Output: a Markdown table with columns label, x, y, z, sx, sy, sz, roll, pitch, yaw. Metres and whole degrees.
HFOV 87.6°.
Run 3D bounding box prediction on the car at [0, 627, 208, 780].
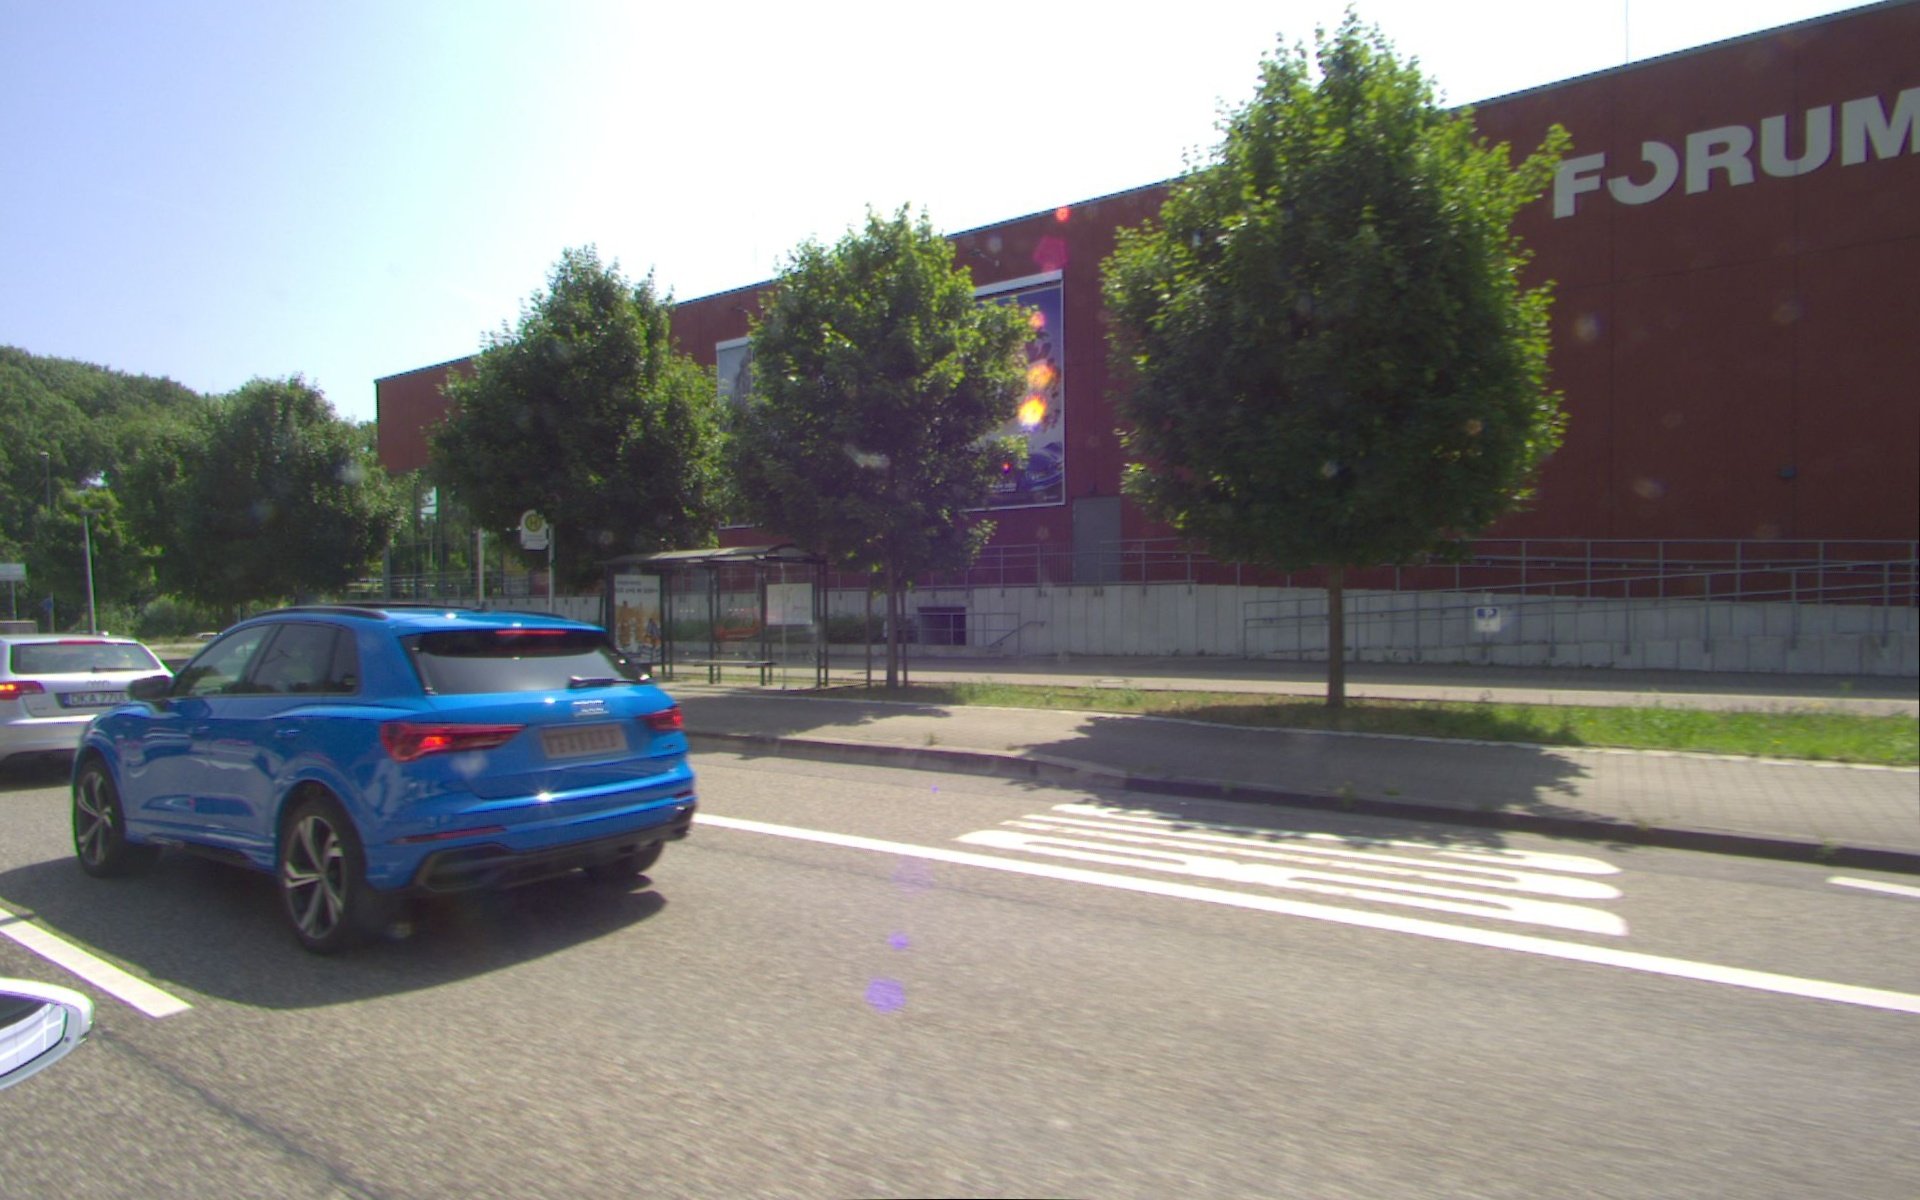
| label | x | y | z | sx | sy | sz | roll | pitch | yaw |
| --- | --- | --- | --- | --- | --- | --- | --- | --- | --- |
| car | -9.962 | 0.979 | 10.723 | 4.032 | 1.379 | 1.709 | -1 | -2 | 32 |

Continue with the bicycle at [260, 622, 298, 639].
| label | x | y | z | sx | sy | sz | roll | pitch | yaw |
| --- | --- | --- | --- | --- | --- | --- | --- | --- | --- |
| bicycle | -34.188 | 1.512 | 50.273 | 0.589 | 0.776 | 1.827 | -1 | 0 | 2 |

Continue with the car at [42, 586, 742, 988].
| label | x | y | z | sx | sy | sz | roll | pitch | yaw |
| --- | --- | --- | --- | --- | --- | --- | --- | --- | --- |
| car | -3.526 | 0.782 | 5.974 | 4.337 | 1.617 | 1.834 | -1 | -1 | 33 |

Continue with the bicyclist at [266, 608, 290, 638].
| label | x | y | z | sx | sy | sz | roll | pitch | yaw |
| --- | --- | --- | --- | --- | --- | --- | --- | --- | --- |
| bicyclist | -34.214 | 1.154 | 50.270 | 0.587 | 1.458 | 0.829 | -1 | 1 | 5 |
